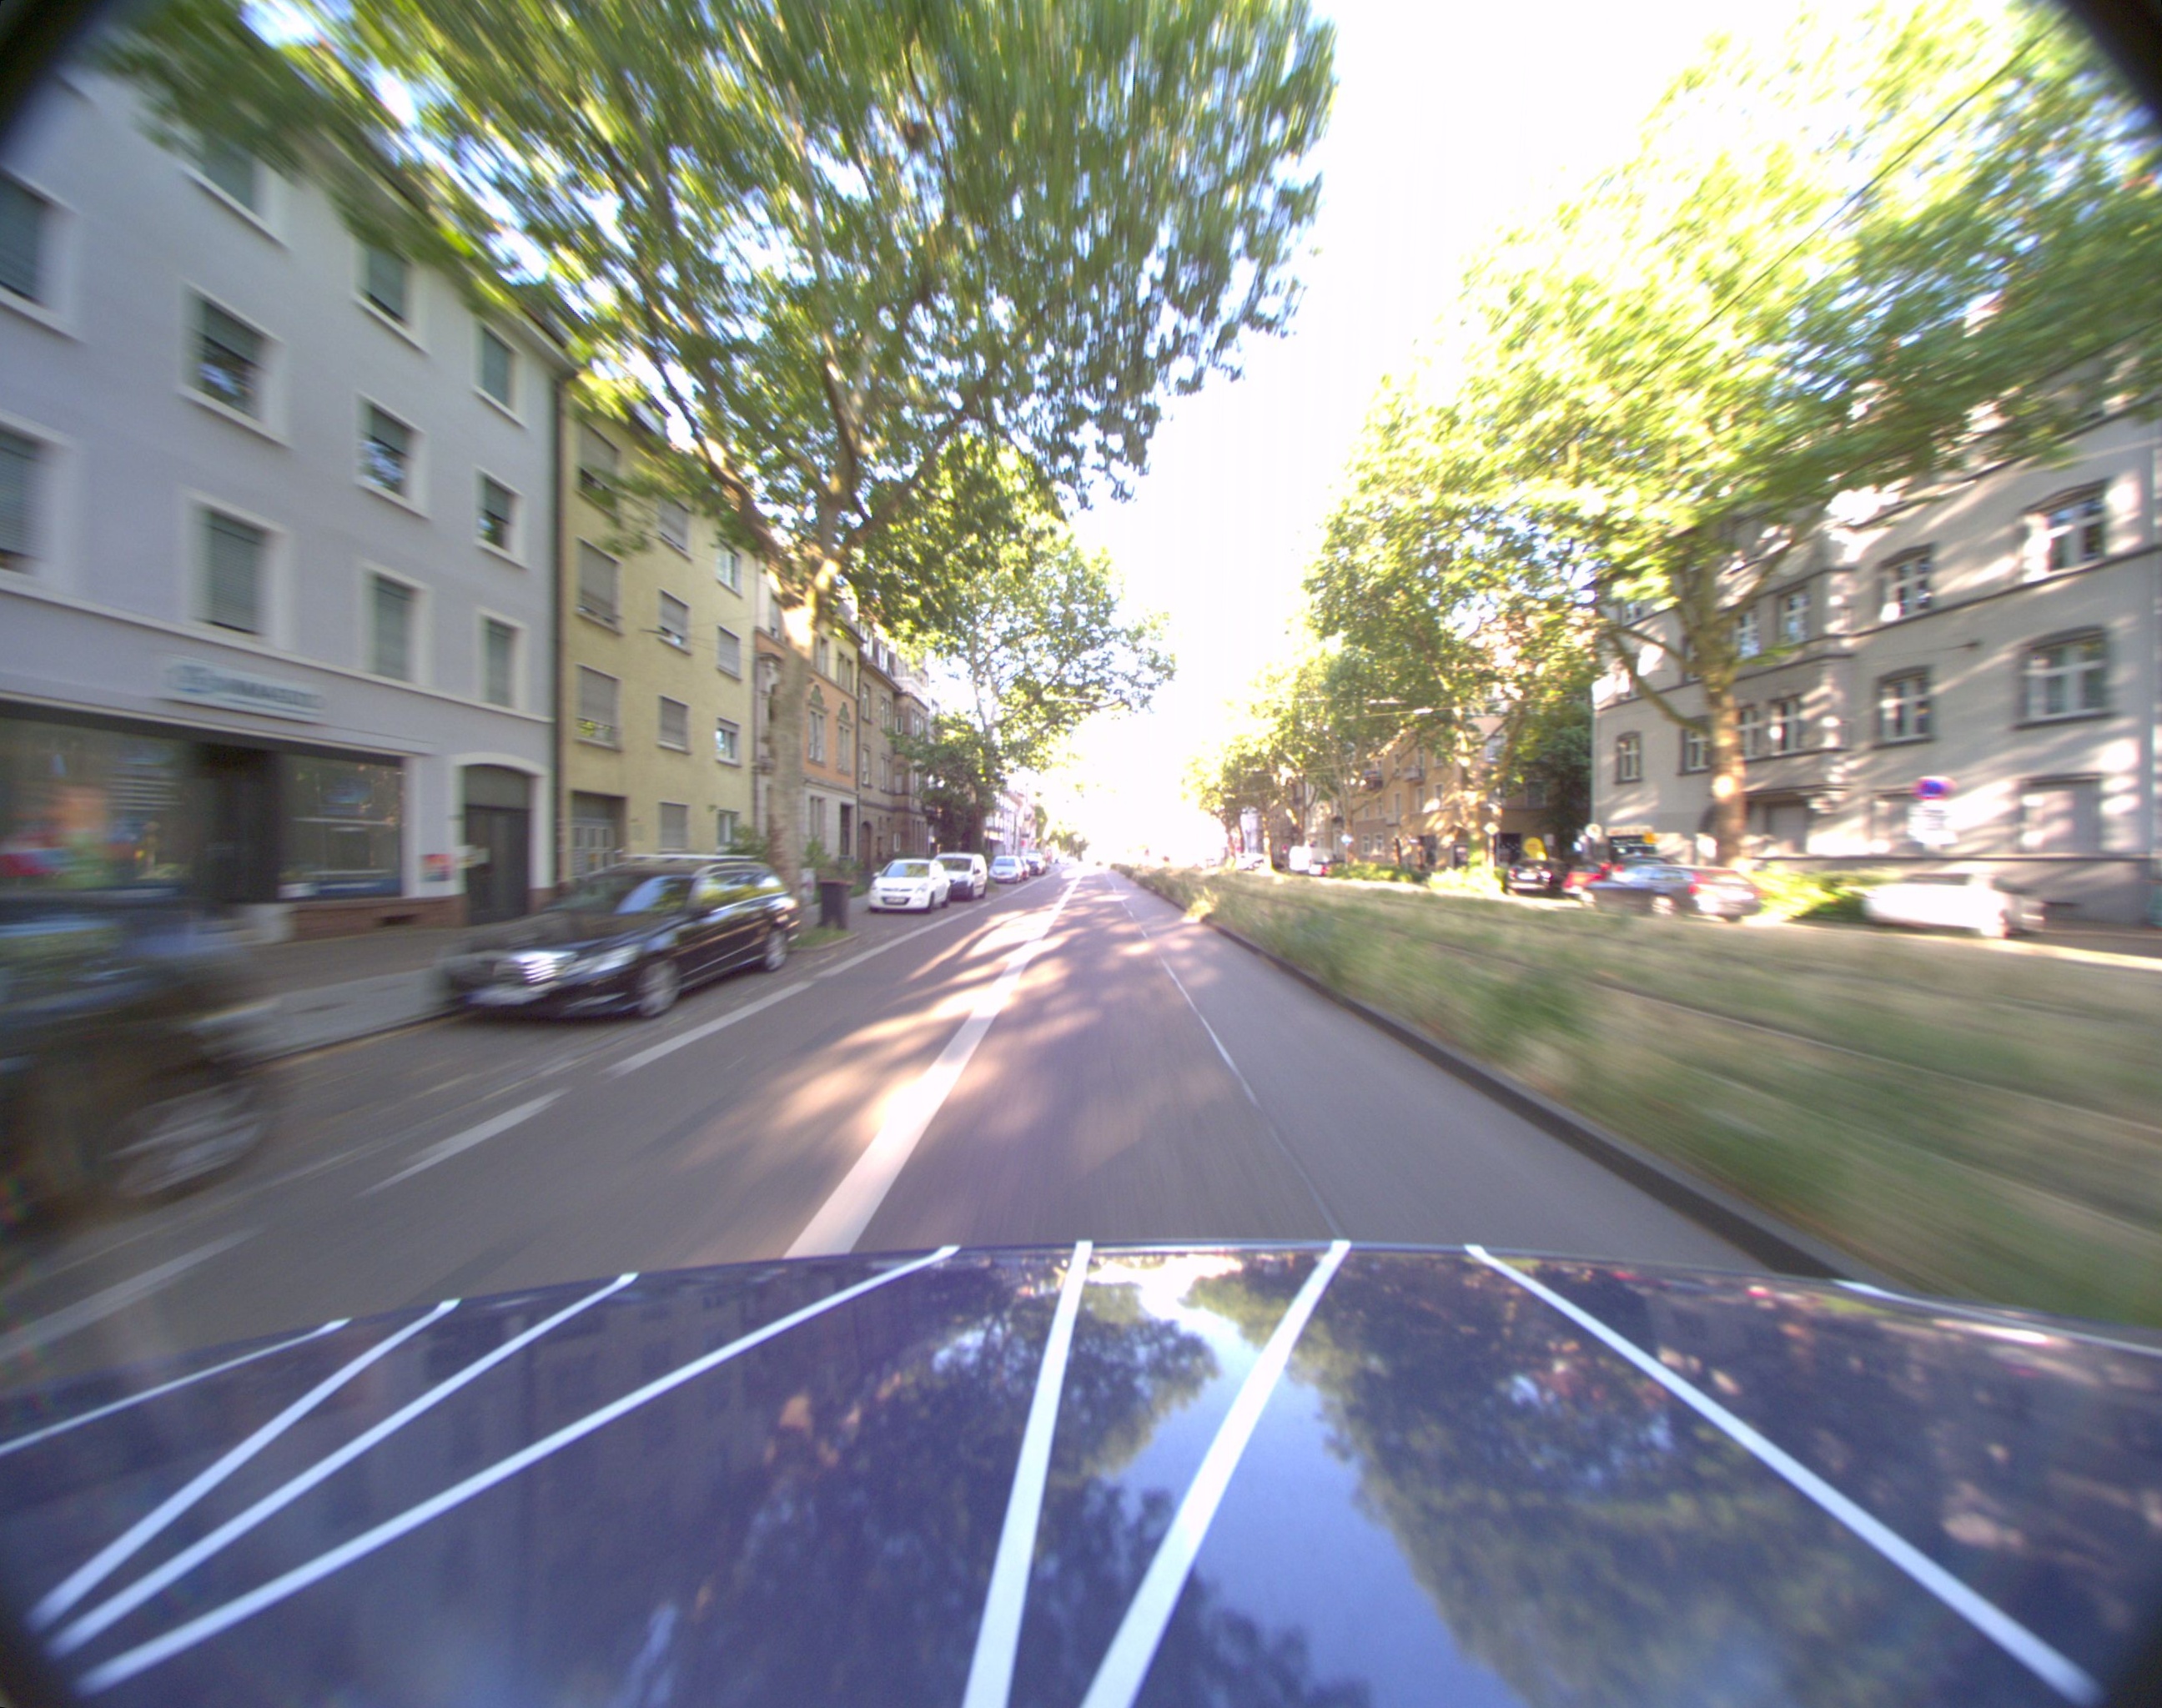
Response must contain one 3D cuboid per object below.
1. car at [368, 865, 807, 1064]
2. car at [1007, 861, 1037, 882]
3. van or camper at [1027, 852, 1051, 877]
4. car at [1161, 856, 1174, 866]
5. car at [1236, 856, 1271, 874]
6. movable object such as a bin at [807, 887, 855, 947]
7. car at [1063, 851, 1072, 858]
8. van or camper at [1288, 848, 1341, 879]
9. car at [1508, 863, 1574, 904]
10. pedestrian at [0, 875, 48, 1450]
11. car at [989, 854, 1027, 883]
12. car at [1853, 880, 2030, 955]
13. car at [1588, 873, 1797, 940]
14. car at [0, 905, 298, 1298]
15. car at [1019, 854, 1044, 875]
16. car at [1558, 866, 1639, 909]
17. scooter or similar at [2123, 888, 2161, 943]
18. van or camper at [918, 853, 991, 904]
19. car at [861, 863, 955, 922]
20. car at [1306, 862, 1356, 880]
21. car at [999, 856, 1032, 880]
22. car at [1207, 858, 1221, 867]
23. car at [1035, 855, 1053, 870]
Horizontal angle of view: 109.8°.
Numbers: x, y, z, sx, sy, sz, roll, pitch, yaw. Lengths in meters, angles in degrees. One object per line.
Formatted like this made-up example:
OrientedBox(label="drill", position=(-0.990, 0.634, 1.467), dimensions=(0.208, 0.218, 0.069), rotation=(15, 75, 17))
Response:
OrientedBox(label="car", position=(-5.096, 0.985, 8.872), dimensions=(1.998, 1.557, 4.664), rotation=(2, 0, 1))
OrientedBox(label="car", position=(-4.251, 1.238, 55.409), dimensions=(1.790, 1.458, 3.570), rotation=(2, 0, 1))
OrientedBox(label="van or camper", position=(-3.830, 0.942, 69.430), dimensions=(1.790, 2.172, 4.733), rotation=(2, 0, 1))
OrientedBox(label="car", position=(14.462, 1.183, 127.011), dimensions=(1.997, 1.477, 4.003), rotation=(-2, 0, 9))
OrientedBox(label="car", position=(20.404, 1.264, 89.919), dimensions=(4.008, 2.002, 1.995), rotation=(-2, 1, -41))
OrientedBox(label="movable object such as a bin", position=(-4.960, 1.241, 15.121), dimensions=(0.683, 1.109, 0.670), rotation=(-2, 1, 2))
OrientedBox(label="car", position=(-3.010, 0.191, 170.510), dimensions=(1.893, 1.501, 4.000), rotation=(-2, 0, 2))
OrientedBox(label="van or camper", position=(19.930, 0.784, 64.833), dimensions=(4.371, 2.386, 2.196), rotation=(-3, 1, -39))
OrientedBox(label="car", position=(19.716, 1.238, 32.510), dimensions=(1.725, 1.643, 4.009), rotation=(-1, -1, 41))
OrientedBox(label="pedestrian", position=(-3.792, 0.948, 2.292), dimensions=(0.755, 1.740, 0.679), rotation=(-1, 1, 42))
OrientedBox(label="car", position=(-4.326, 0.827, 45.332), dimensions=(1.790, 1.609, 3.829), rotation=(2, 0, 1))
OrientedBox(label="car", position=(18.759, 1.300, 16.548), dimensions=(3.687, 1.381, 1.822), rotation=(0, 0, -30))
OrientedBox(label="car", position=(15.664, 1.263, 19.844), dimensions=(1.825, 1.381, 4.484), rotation=(2, 0, 0))
OrientedBox(label="car", position=(-5.036, 1.003, 2.093), dimensions=(1.748, 1.455, 4.024), rotation=(0, 0, -4))
OrientedBox(label="car", position=(-4.074, 0.828, 62.696), dimensions=(1.790, 1.585, 4.013), rotation=(2, 0, 0))
OrientedBox(label="car", position=(20.111, 1.254, 29.469), dimensions=(4.009, 1.545, 1.655), rotation=(1, -1, -42))
OrientedBox(label="scooter or similar", position=(25.266, 1.439, 17.569), dimensions=(0.476, 1.243, 1.354), rotation=(0, 0, 1))
OrientedBox(label="van or camper", position=(-4.612, 0.854, 28.310), dimensions=(1.790, 1.710, 4.380), rotation=(2, 0, 2))
OrientedBox(label="car", position=(-4.883, 1.032, 22.015), dimensions=(1.702, 1.517, 4.195), rotation=(0, 0, 1))
OrientedBox(label="car", position=(20.484, 1.356, 62.296), dimensions=(4.006, 1.240, 1.726), rotation=(-3, 1, -33))
OrientedBox(label="car", position=(-4.318, 0.916, 50.639), dimensions=(1.790, 1.458, 3.570), rotation=(2, 0, 1))
OrientedBox(label="car", position=(24.162, 1.557, 138.011), dimensions=(1.998, 1.412, 4.001), rotation=(-2, 0, 3))
OrientedBox(label="car", position=(-4.552, 1.067, 94.655), dimensions=(1.998, 1.819, 4.000), rotation=(0, 0, 1))
